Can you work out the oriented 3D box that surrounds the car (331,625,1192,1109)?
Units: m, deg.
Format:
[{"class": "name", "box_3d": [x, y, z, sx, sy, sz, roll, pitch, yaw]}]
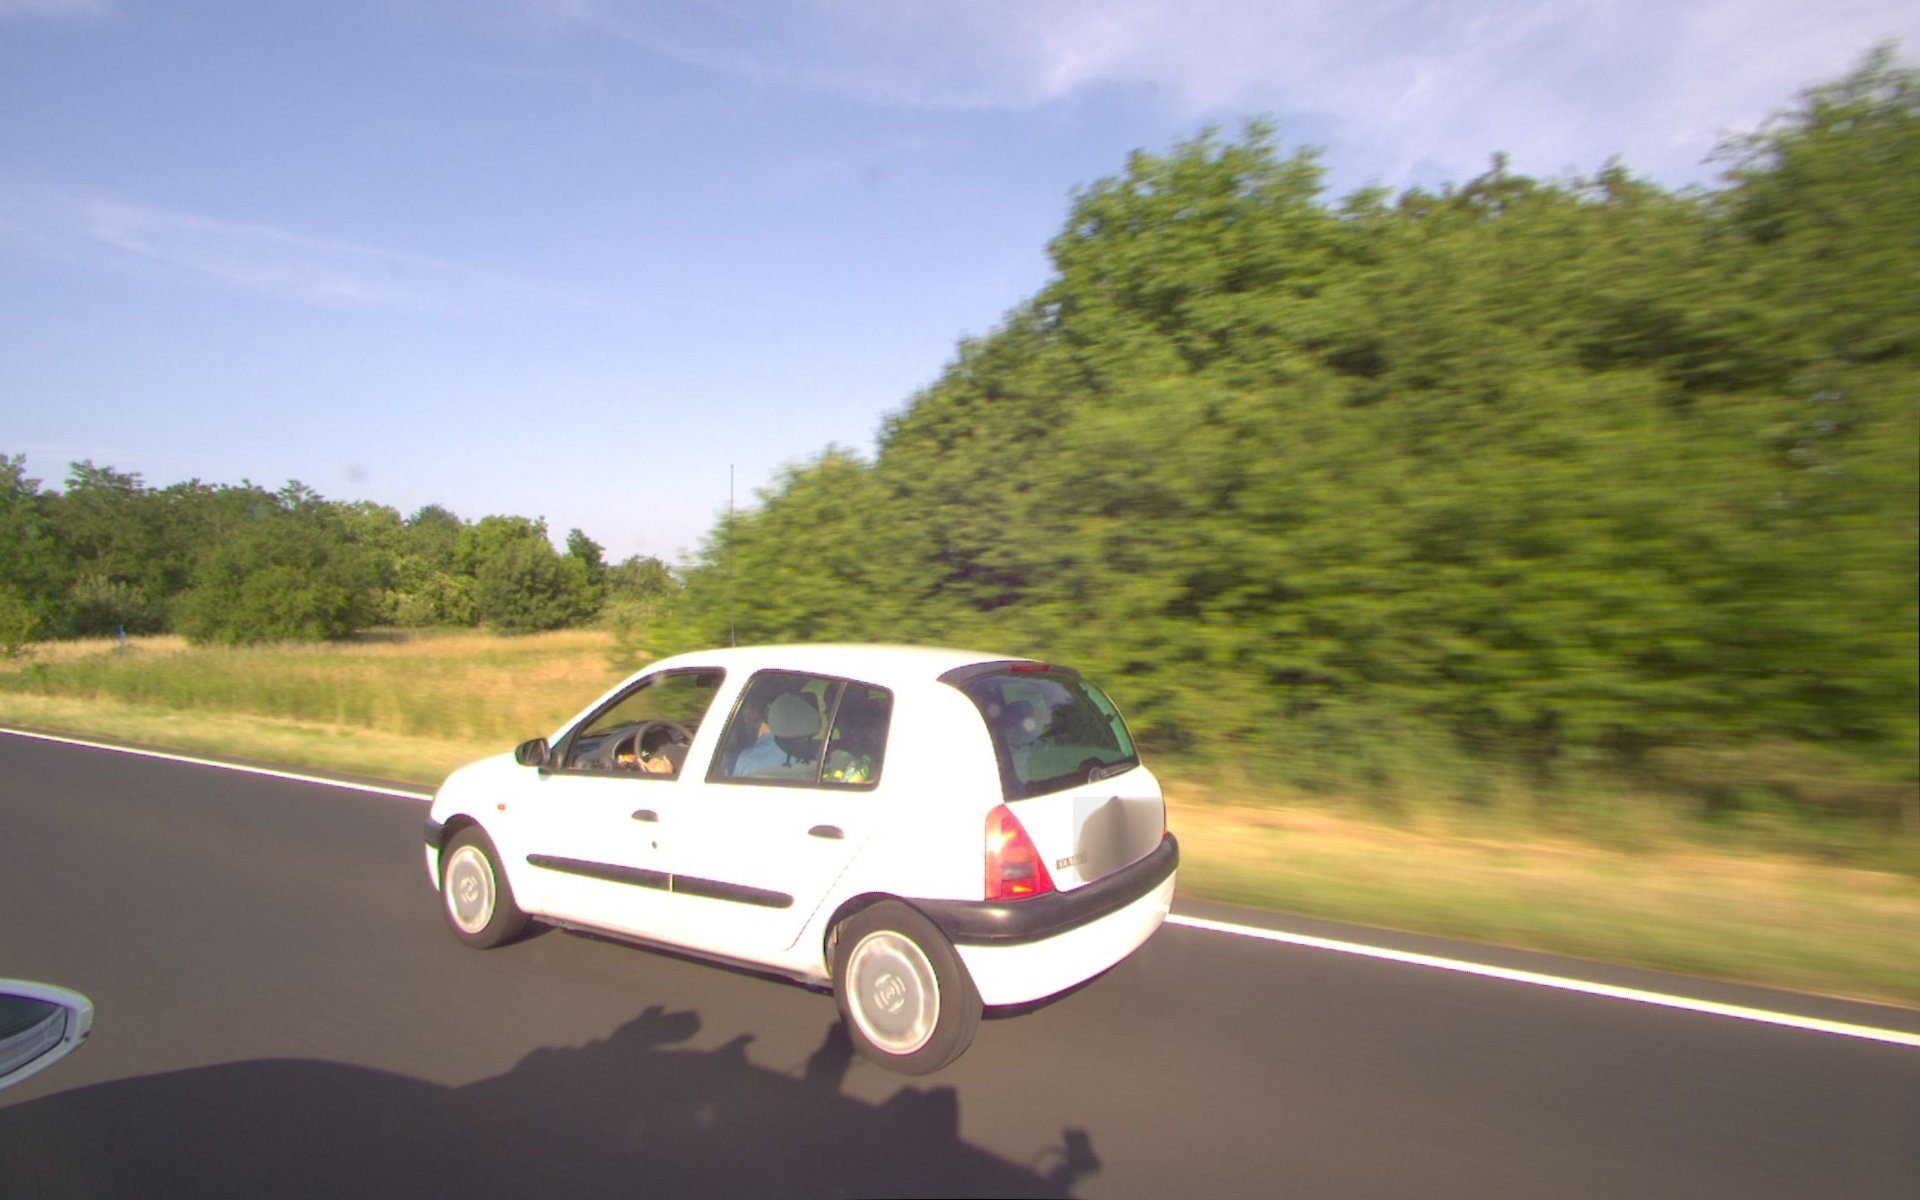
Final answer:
[{"class": "car", "box_3d": [-1.076, 0.837, 4.653, 3.895, 1.405, 1.614, -1, -1, 32]}]
